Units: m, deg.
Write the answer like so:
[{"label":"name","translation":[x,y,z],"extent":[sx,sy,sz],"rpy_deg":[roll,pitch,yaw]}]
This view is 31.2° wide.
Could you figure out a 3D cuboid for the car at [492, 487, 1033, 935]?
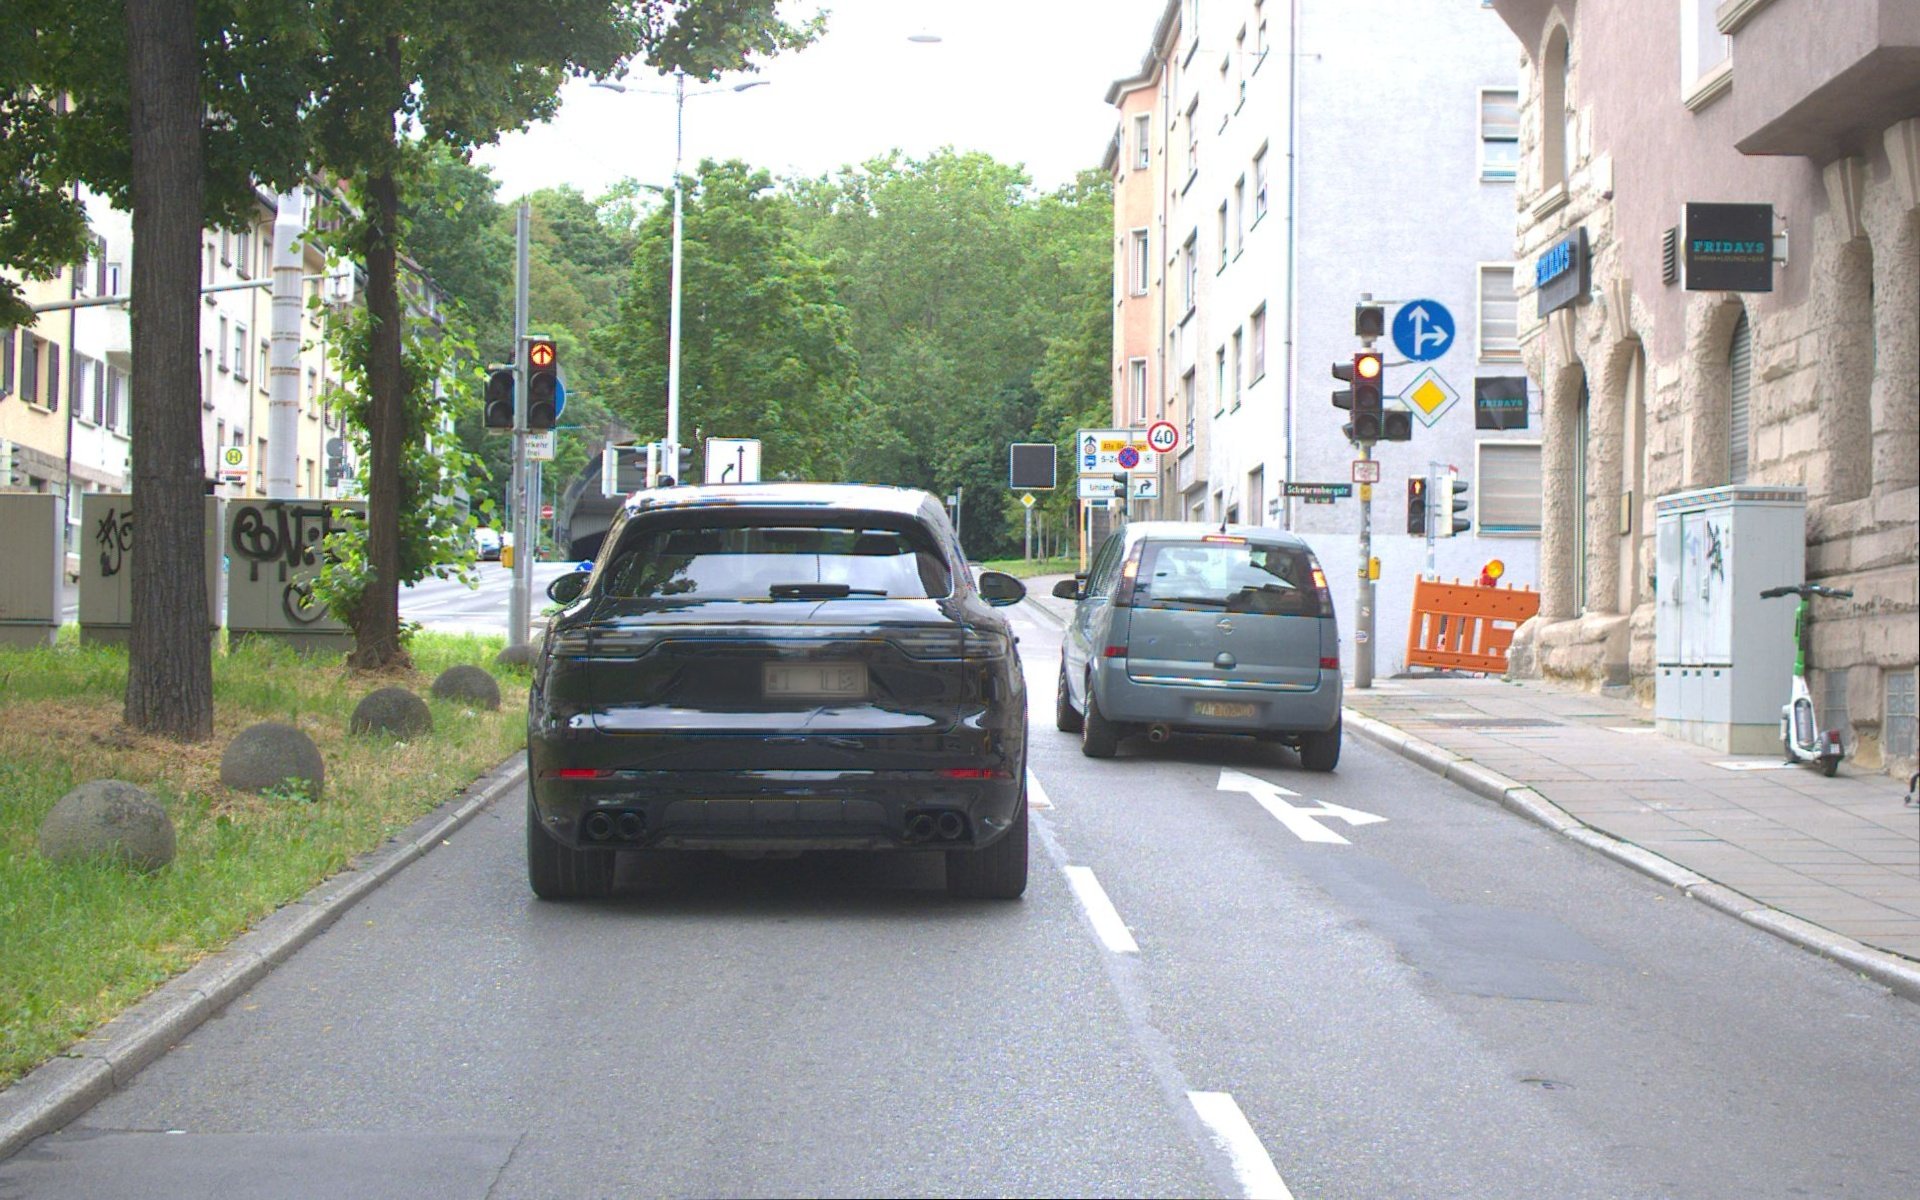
[{"label":"car","translation":[-0.748,0.346,14.703],"extent":[1.994,1.647,4.001],"rpy_deg":[0,2,0]}]

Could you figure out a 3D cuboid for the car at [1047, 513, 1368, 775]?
[{"label":"car","translation":[1.634,0.239,23.873],"extent":[1.752,1.588,3.631],"rpy_deg":[3,1,-2]}]

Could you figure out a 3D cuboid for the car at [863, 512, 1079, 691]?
[{"label":"car","translation":[0.080,-0.017,33.816],"extent":[1.994,1.647,4.000],"rpy_deg":[0,1,0]}]

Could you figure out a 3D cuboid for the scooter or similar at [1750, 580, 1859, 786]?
[{"label":"scooter or similar","translation":[5.265,0.501,21.486],"extent":[0.401,1.184,1.354],"rpy_deg":[0,3,3]}]
